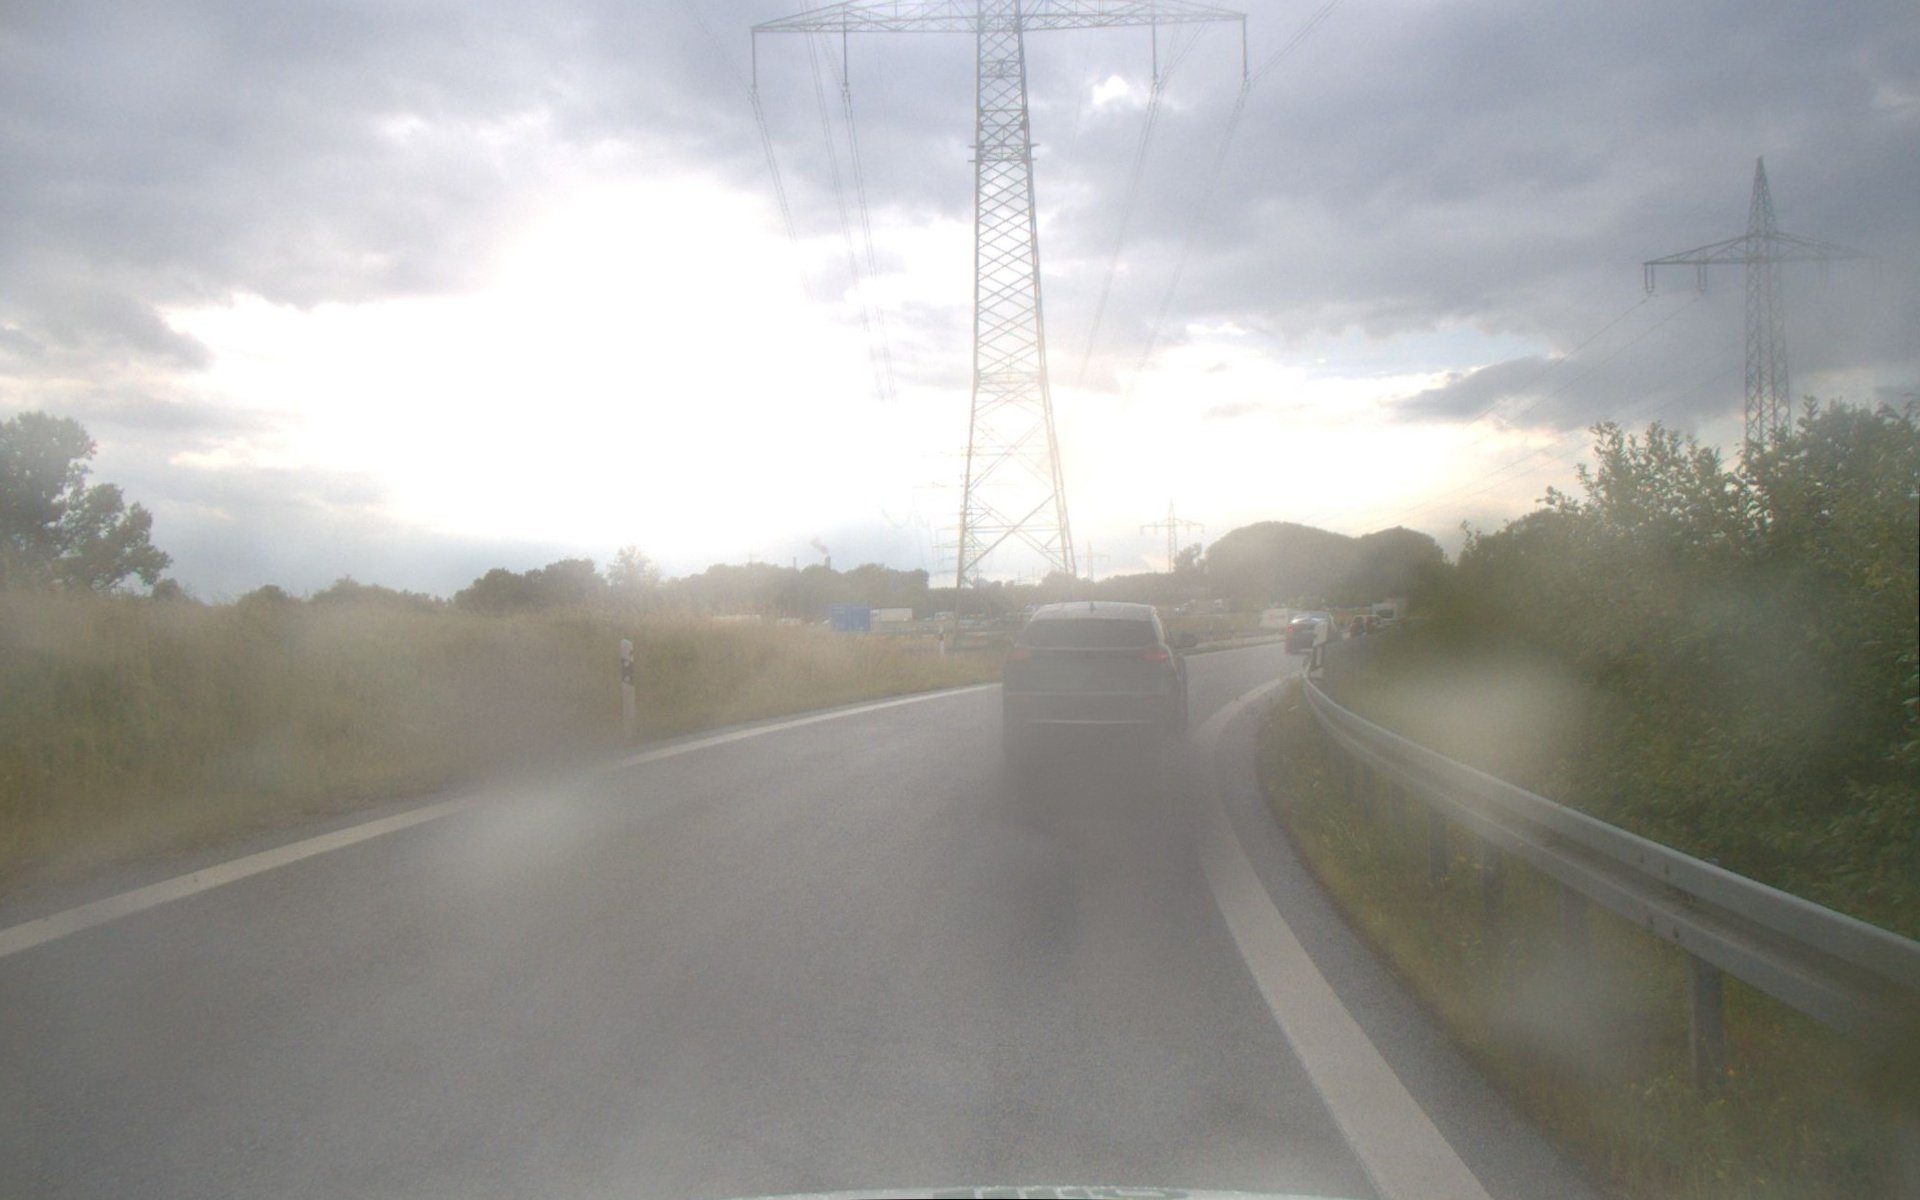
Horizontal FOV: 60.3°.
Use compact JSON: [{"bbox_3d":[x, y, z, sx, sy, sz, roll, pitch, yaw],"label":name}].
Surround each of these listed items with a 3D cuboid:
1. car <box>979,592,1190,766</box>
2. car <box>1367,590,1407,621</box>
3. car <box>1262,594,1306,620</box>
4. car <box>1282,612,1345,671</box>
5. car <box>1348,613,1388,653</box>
[{"bbox_3d":[1.359,0.732,17.642,1.951,1.594,4.151,1,0,5],"label":"car"},{"bbox_3d":[46.649,0.554,180.785,3.069,3.002,7.215,-2,1,6],"label":"car"},{"bbox_3d":[48.299,1.049,246.894,3.323,3.674,9.019,-1,-1,-11],"label":"car"},{"bbox_3d":[13.304,1.515,62.008,2.076,2.053,5.538,-2,-1,14],"label":"car"},{"bbox_3d":[26.862,2.149,108.829,2.301,2.347,5.133,-2,1,16],"label":"car"}]
